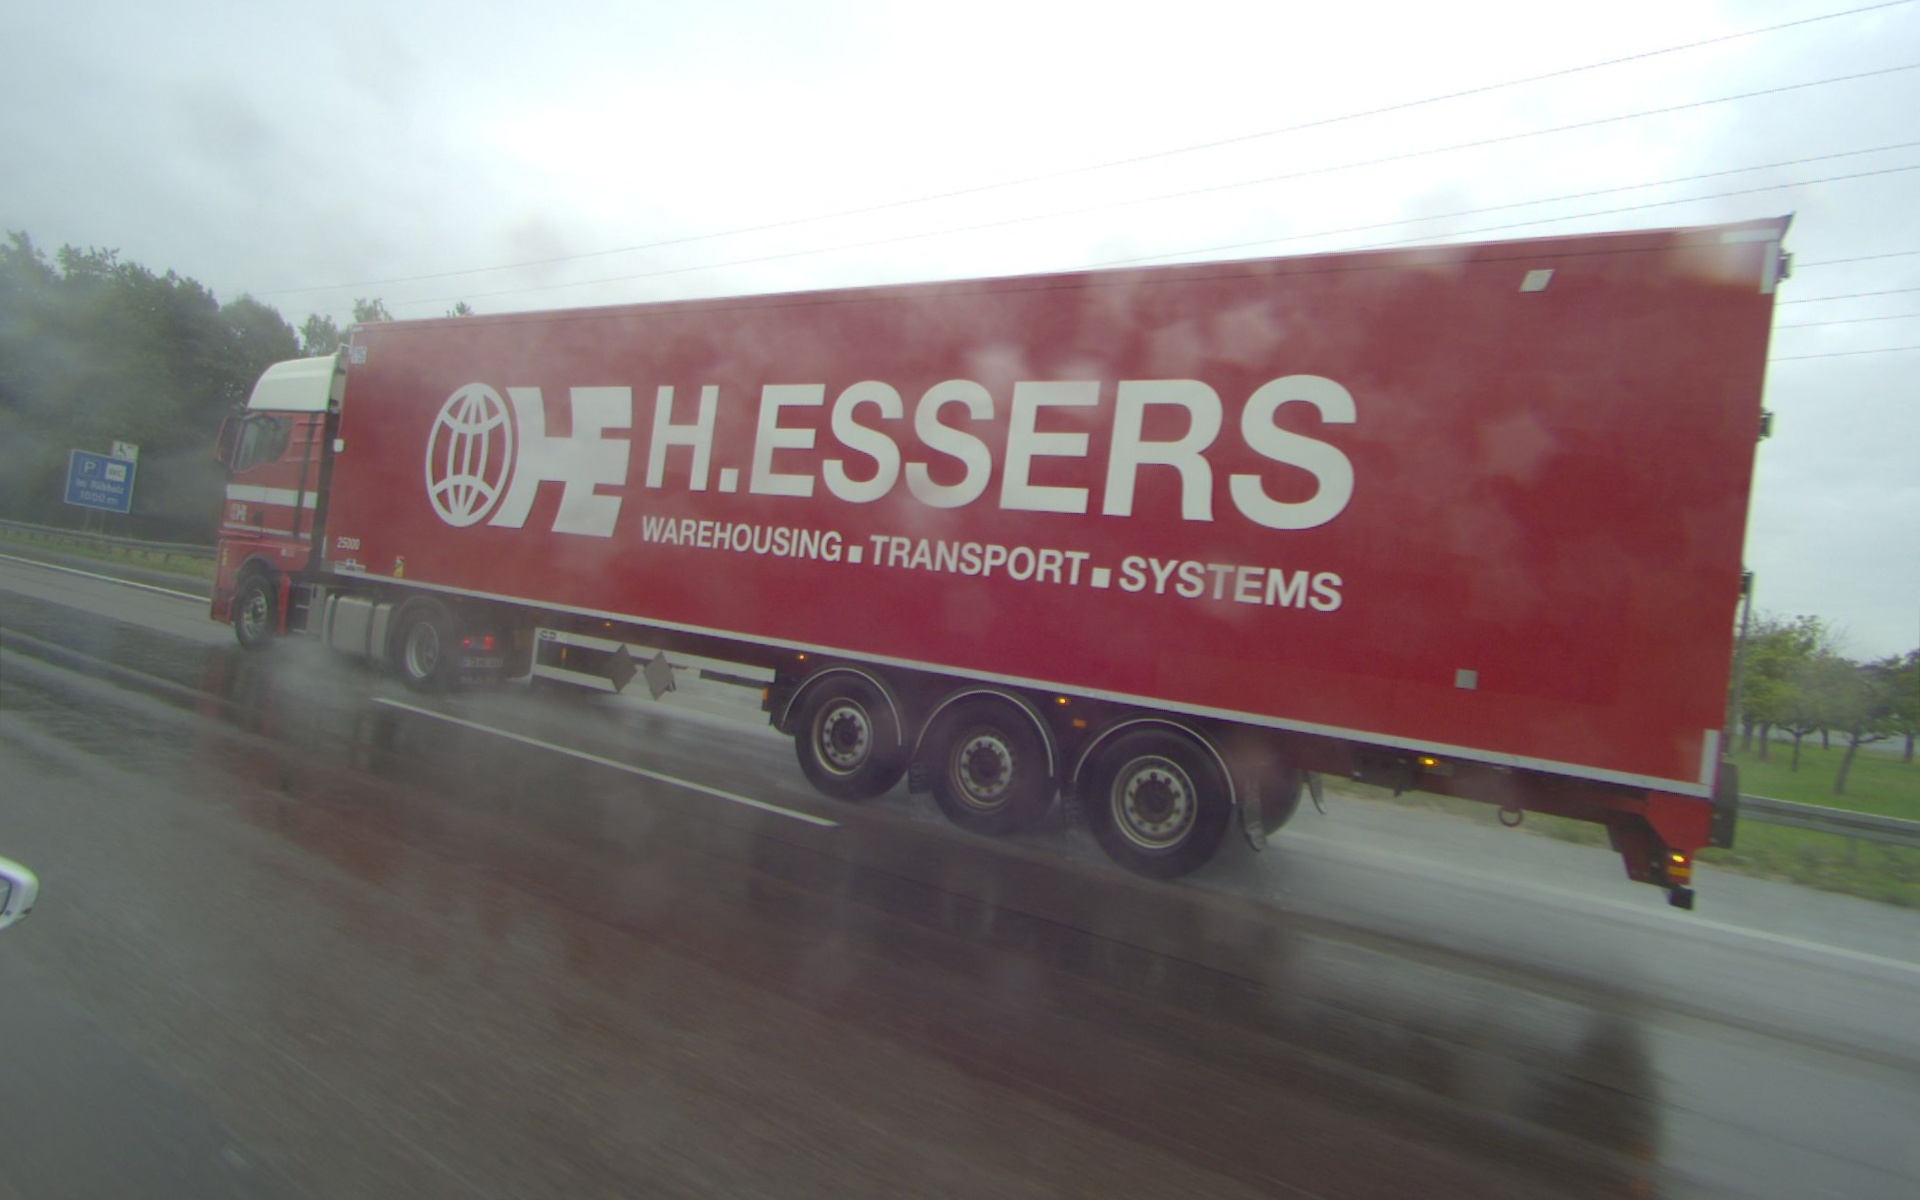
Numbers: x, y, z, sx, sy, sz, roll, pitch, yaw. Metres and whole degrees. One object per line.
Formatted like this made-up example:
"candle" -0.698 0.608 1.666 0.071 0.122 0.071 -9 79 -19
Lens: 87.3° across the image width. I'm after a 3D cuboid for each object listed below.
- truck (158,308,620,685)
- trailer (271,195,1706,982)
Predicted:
"truck" -7.564 -1.271 13.225 5.342 4.002 2.625 7 -1 31
"trailer" -1.548 -0.597 9.638 13.401 4.002 2.625 7 -1 31
